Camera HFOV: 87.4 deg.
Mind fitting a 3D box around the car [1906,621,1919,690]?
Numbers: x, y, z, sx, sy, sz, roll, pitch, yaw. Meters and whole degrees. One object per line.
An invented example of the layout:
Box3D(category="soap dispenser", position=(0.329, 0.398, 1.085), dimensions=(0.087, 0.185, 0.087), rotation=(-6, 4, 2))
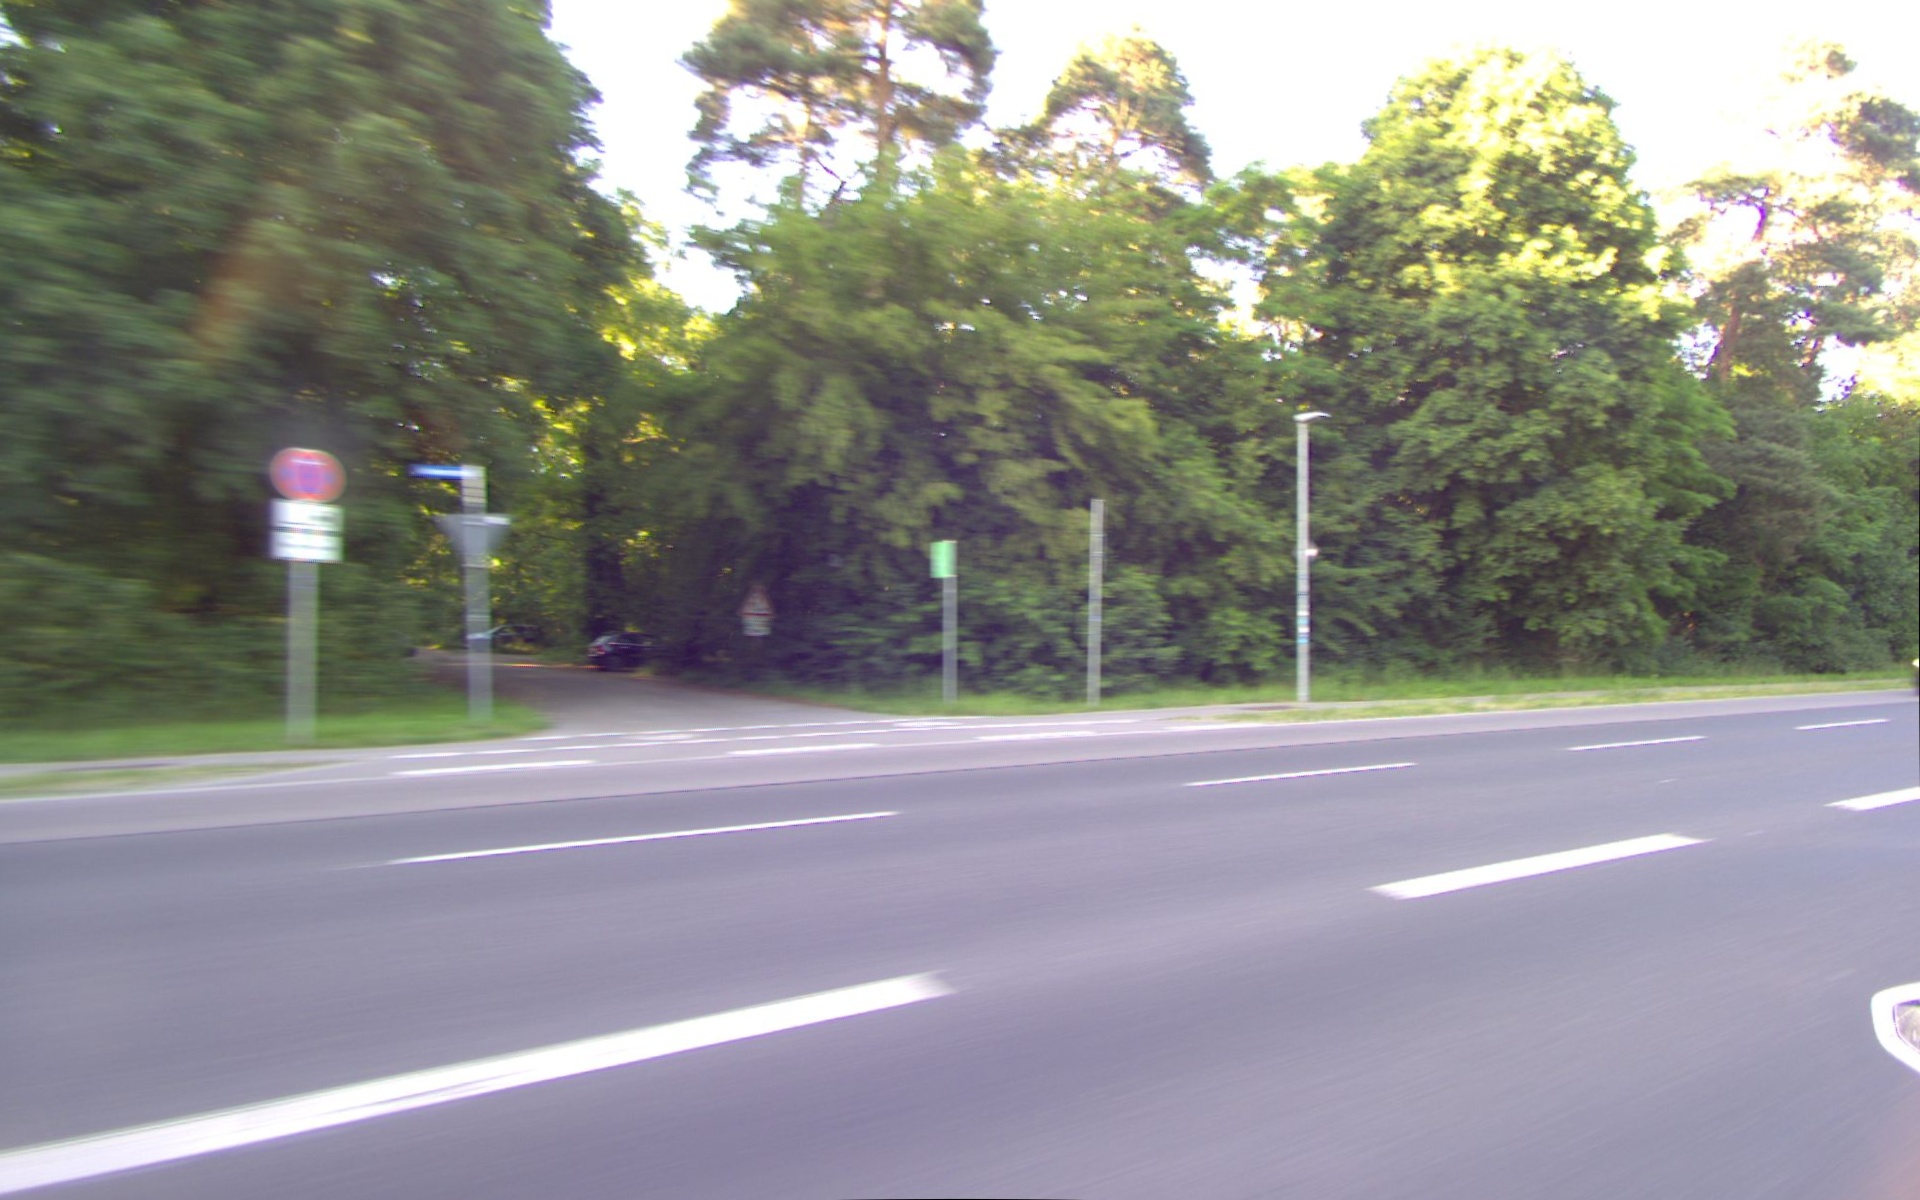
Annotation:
Box3D(category="car", position=(22.590, 1.235, 22.005), dimensions=(3.954, 1.477, 1.729), rotation=(1, 1, -32))
